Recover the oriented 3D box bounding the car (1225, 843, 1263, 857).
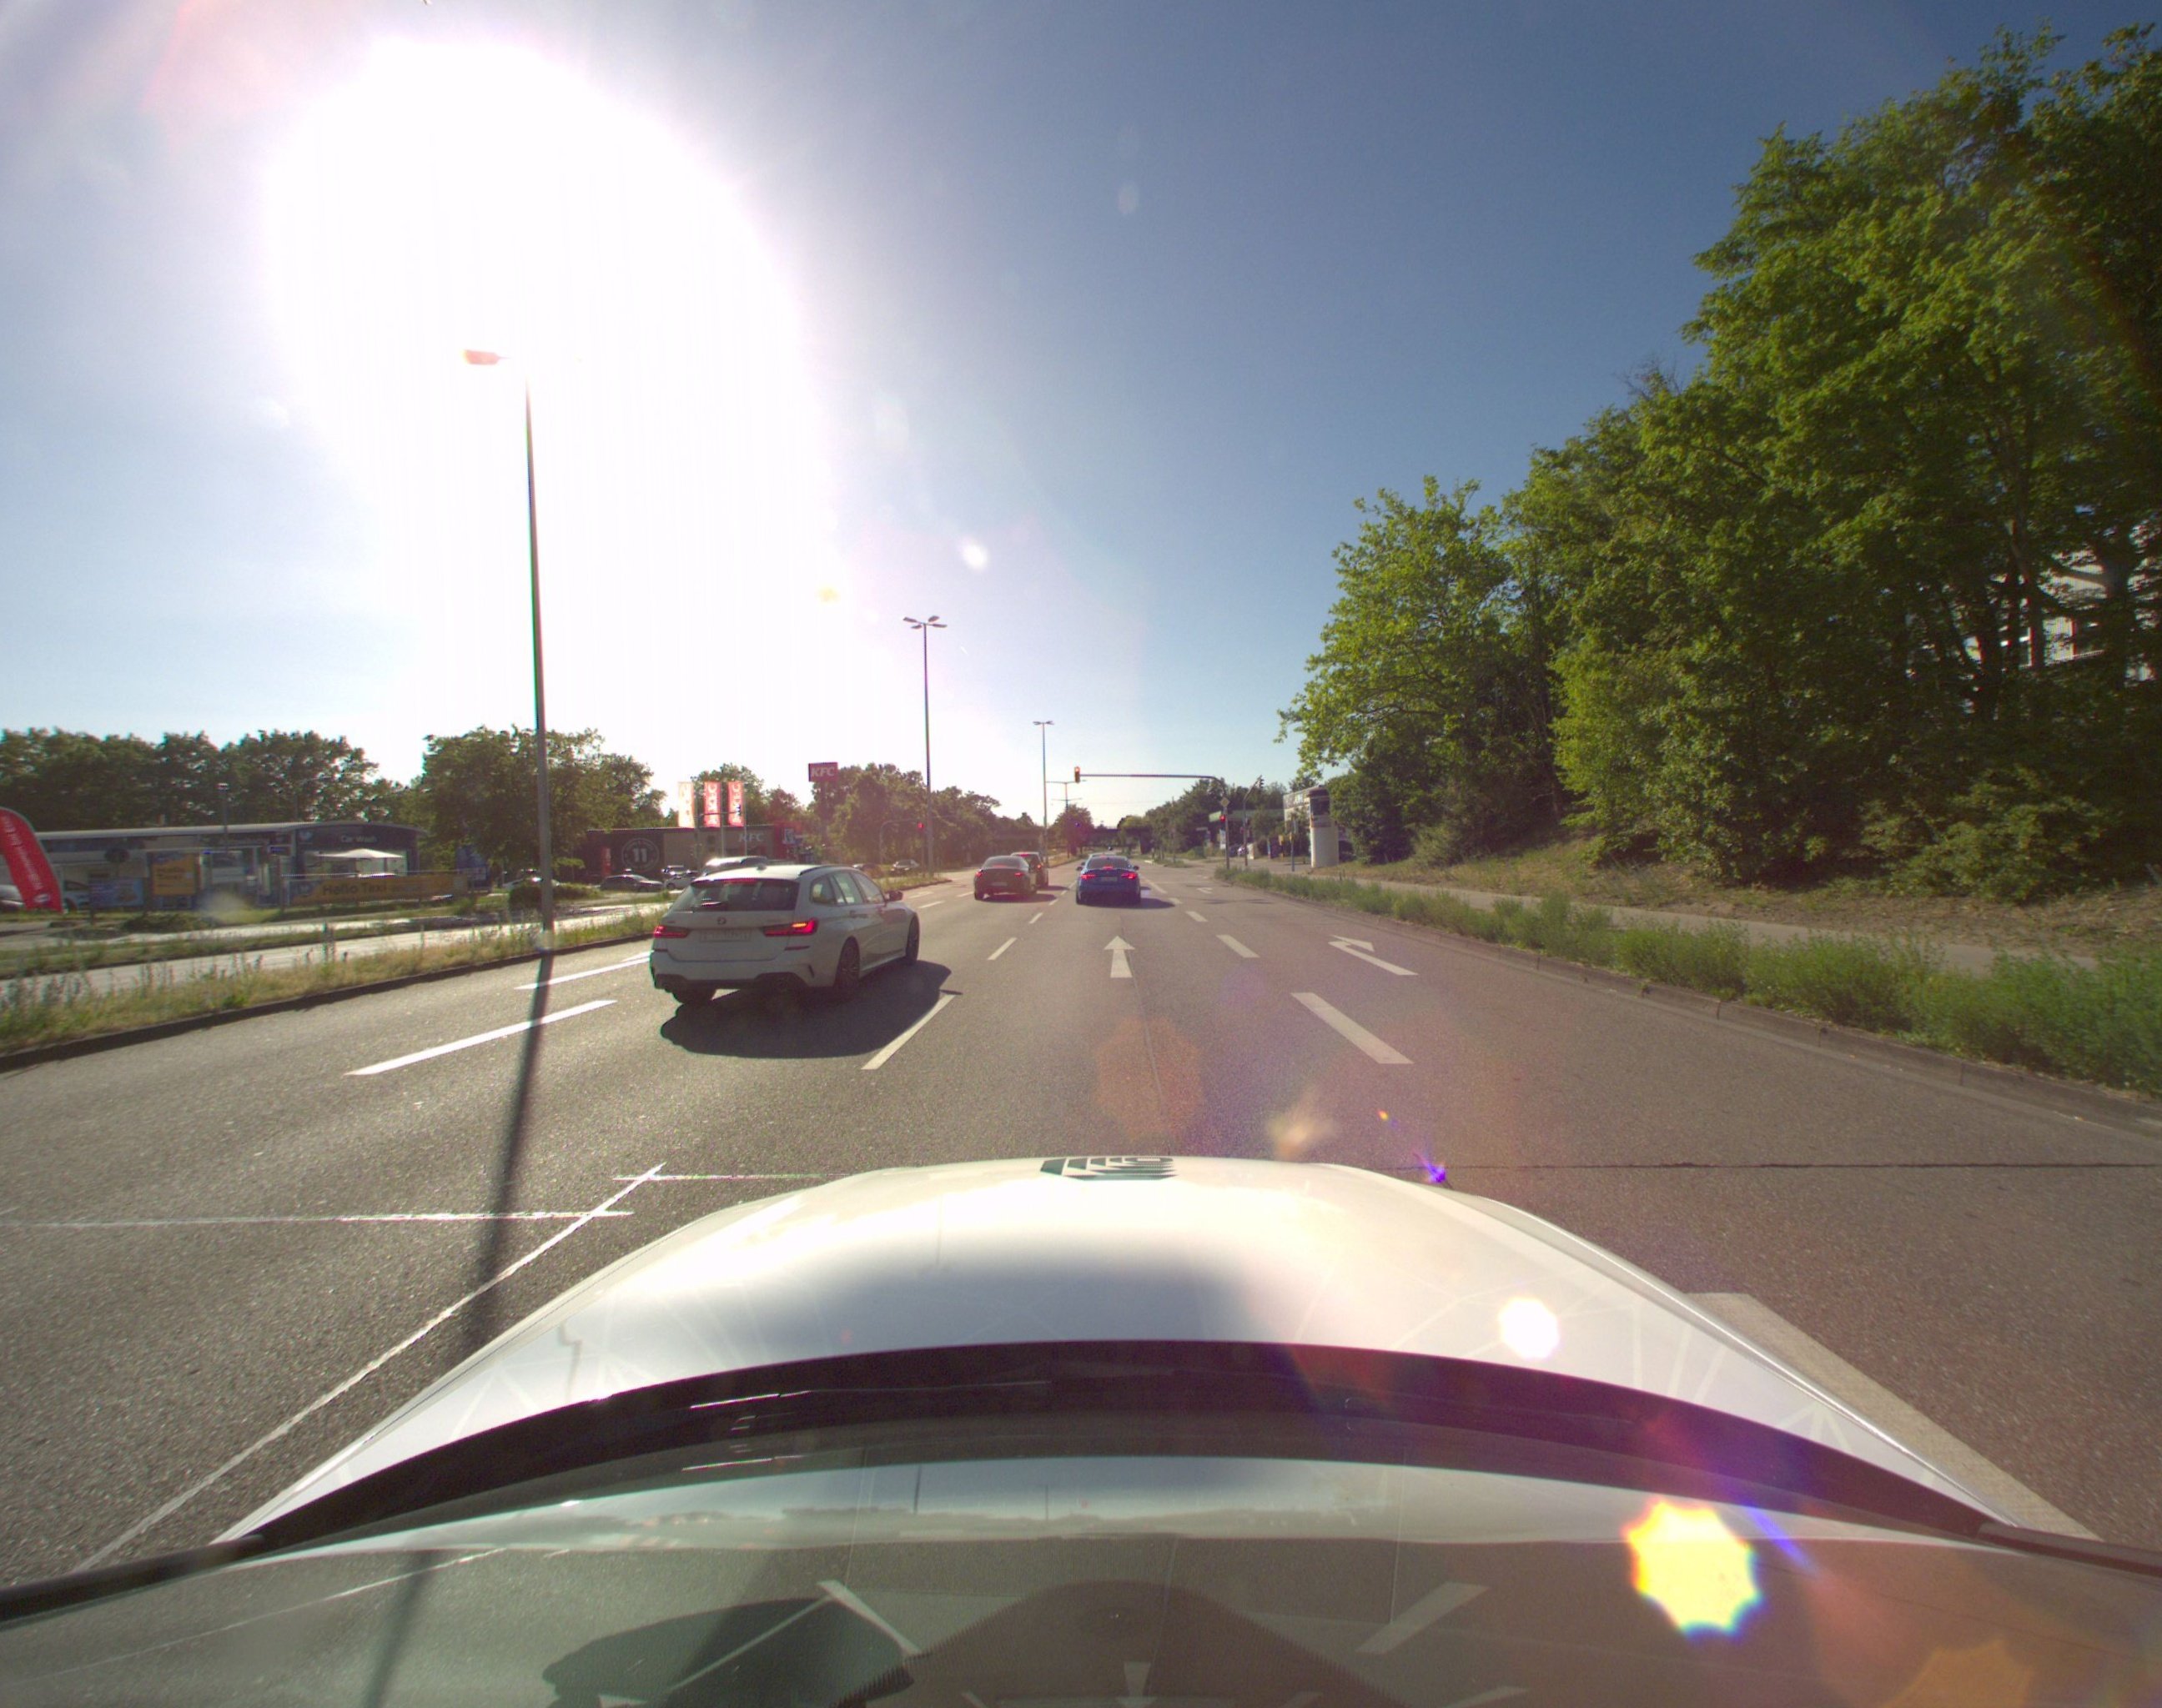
[{"bbox_3d":[18.605,-0.423,92.920,3.970,1.552,2.001,0,-1,3],"label":"car"}]

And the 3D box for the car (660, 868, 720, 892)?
[{"bbox_3d":[-30.914,2.073,64.486,3.747,1.813,2.000,0,-1,1],"label":"car"}]

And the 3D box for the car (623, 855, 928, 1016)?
[{"bbox_3d":[-3.262,0.775,9.839,1.805,1.486,4.598,0,-1,2],"label":"car"}]

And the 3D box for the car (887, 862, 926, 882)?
[{"bbox_3d":[-16.415,1.661,76.825,1.790,1.726,4.338,-1,0,14],"label":"car"}]

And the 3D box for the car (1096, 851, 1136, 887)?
[{"bbox_3d":[1.591,0.625,35.901,1.696,1.497,3.722,0,-1,4],"label":"car"}]

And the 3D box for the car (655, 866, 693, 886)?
[{"bbox_3d":[-36.588,1.927,73.189,1.946,1.740,4.046,0,-1,-44],"label":"car"}]

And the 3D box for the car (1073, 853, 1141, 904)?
[{"bbox_3d":[0.858,0.707,24.762,1.901,1.423,3.722,0,-1,4],"label":"car"}]

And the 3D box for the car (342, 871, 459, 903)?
[{"bbox_3d":[-33.285,1.592,39.982,1.981,1.442,4.012,0,-1,11],"label":"car"}]

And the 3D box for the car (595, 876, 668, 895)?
[{"bbox_3d":[-31.367,2.201,56.920,4.070,1.252,1.871,0,-1,0],"label":"car"}]

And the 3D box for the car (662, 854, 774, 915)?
[{"bbox_3d":[-11.857,0.943,26.931,1.671,1.848,4.296,0,-1,1],"label":"car"}]

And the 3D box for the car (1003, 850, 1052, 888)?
[{"bbox_3d":[-2.300,0.642,36.181,1.806,1.551,4.353,0,-1,1],"label":"car"}]

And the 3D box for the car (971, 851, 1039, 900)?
[{"bbox_3d":[-2.551,0.678,28.356,1.805,1.551,4.545,-1,0,1],"label":"car"}]

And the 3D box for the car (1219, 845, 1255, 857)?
[{"bbox_3d":[19.420,-0.359,101.675,3.994,1.552,1.989,0,-1,-16],"label":"car"}]

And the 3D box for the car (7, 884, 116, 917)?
[{"bbox_3d":[-47.791,2.175,38.226,3.129,1.441,1.534,0,-1,0],"label":"car"}]

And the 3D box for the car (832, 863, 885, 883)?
[{"bbox_3d":[-18.776,1.588,68.818,1.975,1.559,3.794,-1,-1,45],"label":"car"}]

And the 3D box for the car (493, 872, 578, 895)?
[{"bbox_3d":[-38.432,2.074,57.438,4.608,1.579,1.936,0,-1,0],"label":"car"}]

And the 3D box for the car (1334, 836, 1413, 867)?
[{"bbox_3d":[19.025,-0.166,53.093,4.556,1.875,1.822,-2,0,7],"label":"car"}]
